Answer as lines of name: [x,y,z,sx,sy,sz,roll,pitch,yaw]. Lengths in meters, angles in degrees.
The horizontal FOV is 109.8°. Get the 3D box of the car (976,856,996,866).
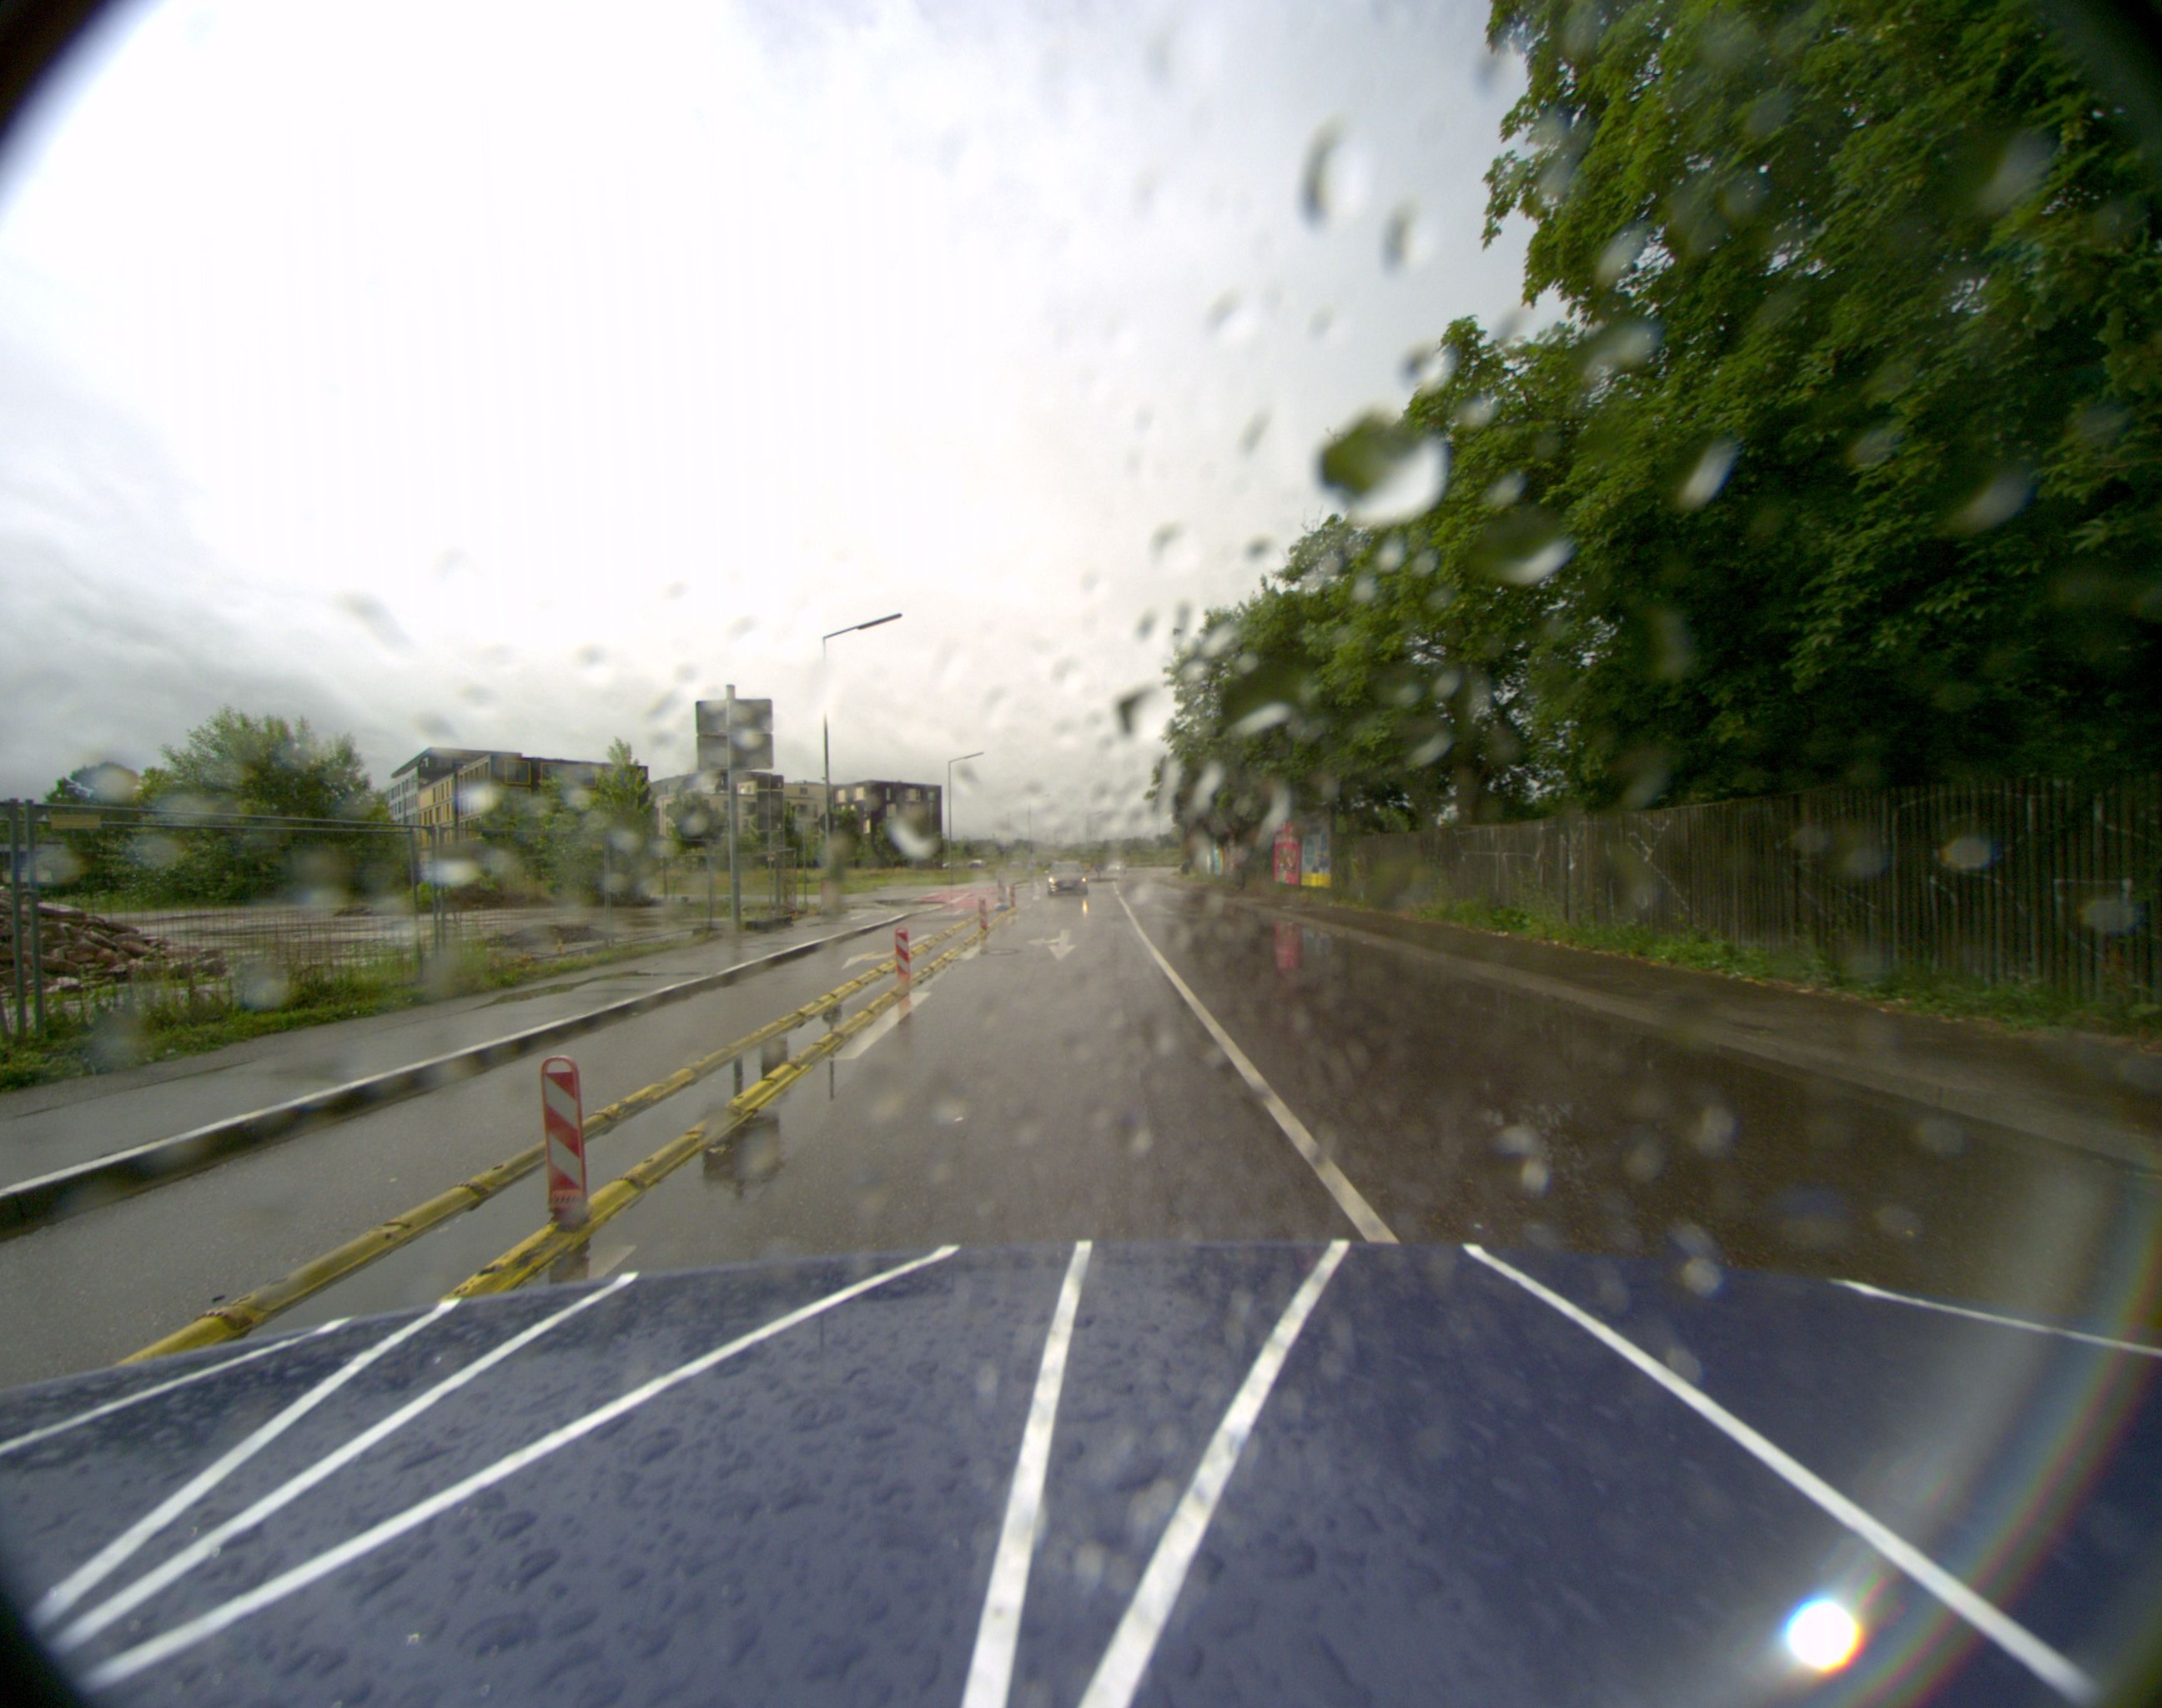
car: [-21.318,1.555,170.351,4.008,2.002,1.994,-1,0,-44]

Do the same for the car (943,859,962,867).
car: [-27.311,1.808,161.286,3.657,1.601,1.596,-1,0,-40]

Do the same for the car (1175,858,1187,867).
car: [17.848,1.530,135.464,1.795,1.623,3.621,-1,0,11]

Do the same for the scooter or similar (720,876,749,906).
scooter or similar: [-13.783,1.464,30.226,1.191,1.143,0.484,-1,0,34]

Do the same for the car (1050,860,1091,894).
car: [-0.528,0.988,34.646,1.724,1.423,3.818,-1,0,-2]

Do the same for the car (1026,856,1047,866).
car: [-9.329,1.463,159.554,3.989,2.002,2.004,-2,0,42]

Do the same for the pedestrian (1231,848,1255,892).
pedestrian: [6.580,0.627,30.825,0.841,1.759,0.644,0,0,0]

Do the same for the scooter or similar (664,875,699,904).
scooter or similar: [-16.445,1.448,31.261,1.191,1.143,0.748,-1,0,33]

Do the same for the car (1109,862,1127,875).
car: [4.868,1.840,100.191,1.795,1.623,3.822,-1,0,12]

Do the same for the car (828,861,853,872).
car: [-37.268,1.888,117.610,1.644,1.573,3.674,-1,0,24]
